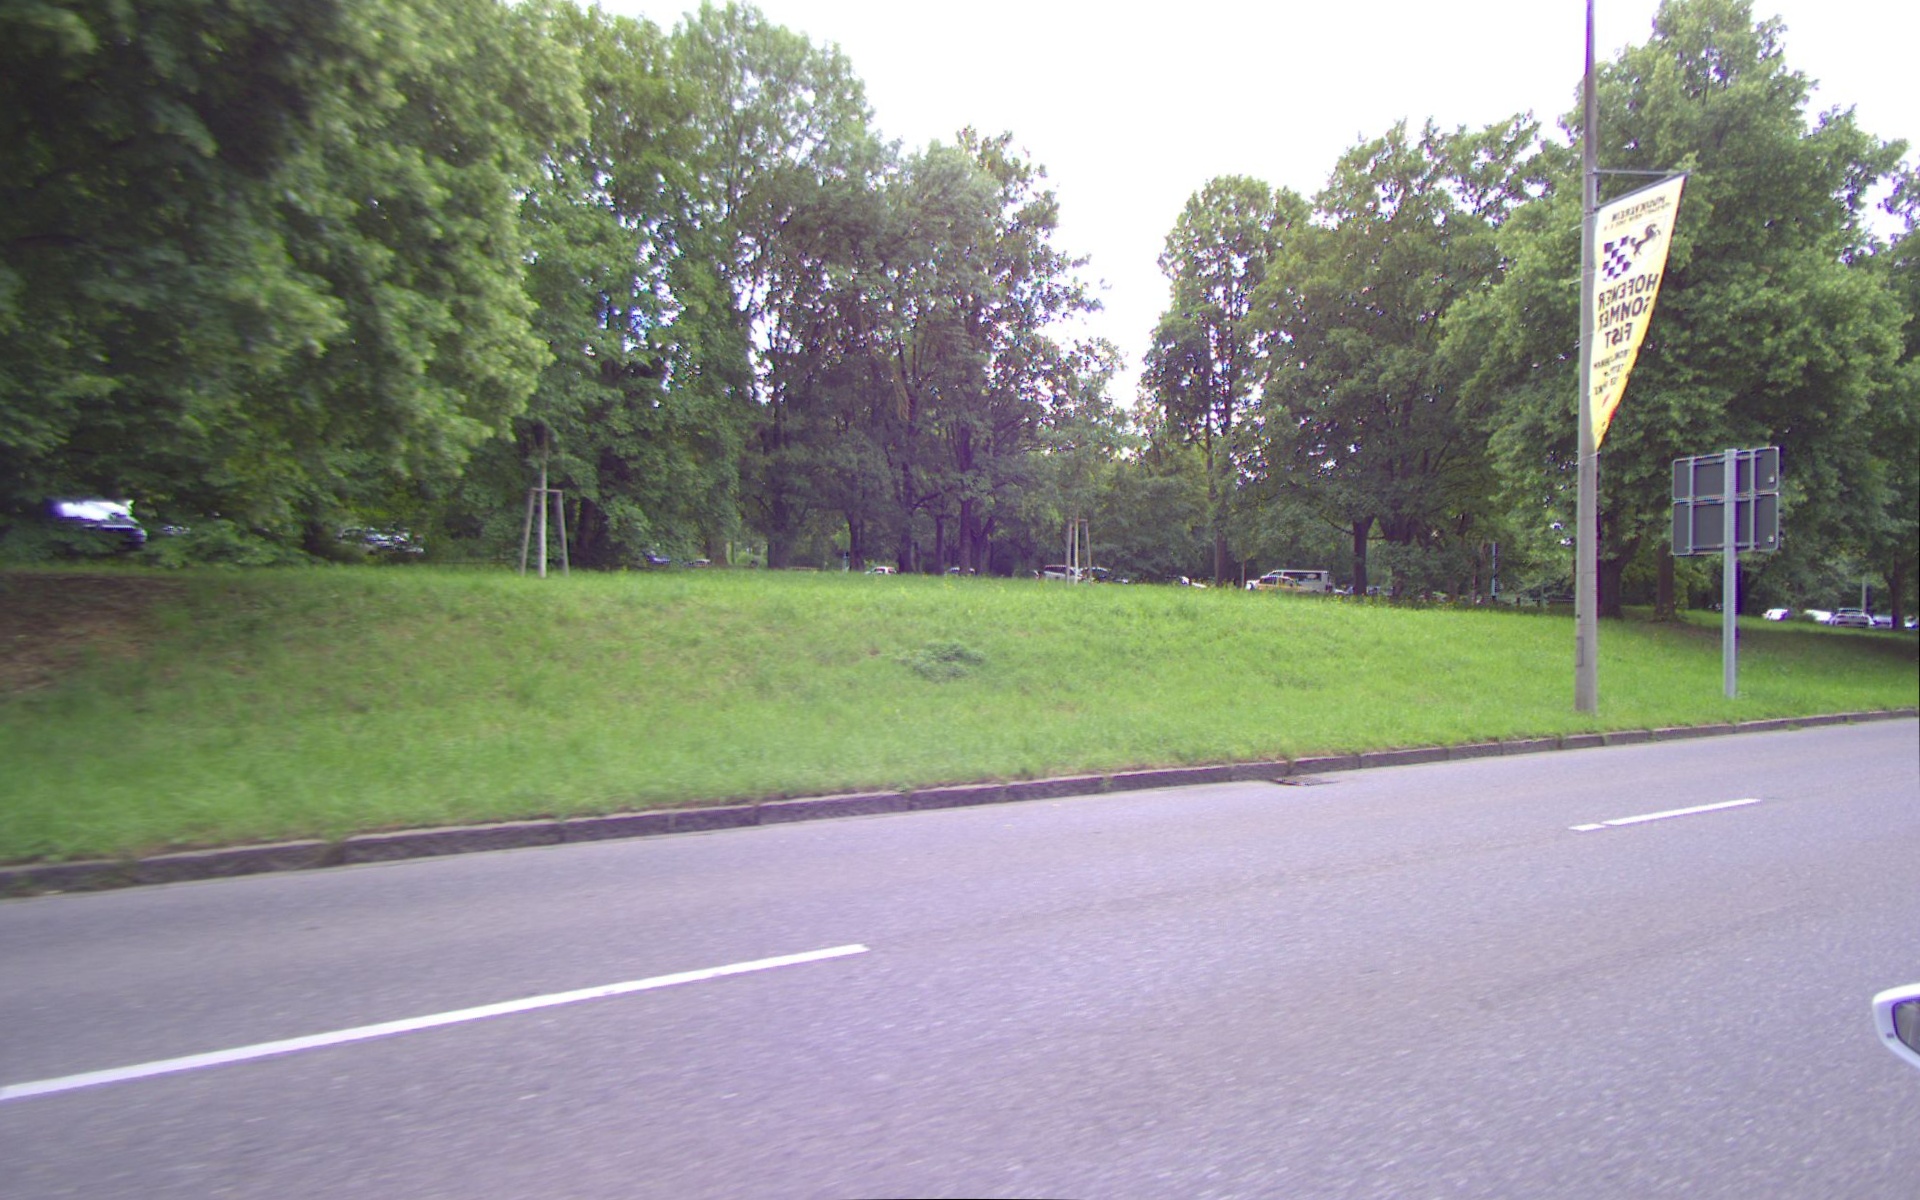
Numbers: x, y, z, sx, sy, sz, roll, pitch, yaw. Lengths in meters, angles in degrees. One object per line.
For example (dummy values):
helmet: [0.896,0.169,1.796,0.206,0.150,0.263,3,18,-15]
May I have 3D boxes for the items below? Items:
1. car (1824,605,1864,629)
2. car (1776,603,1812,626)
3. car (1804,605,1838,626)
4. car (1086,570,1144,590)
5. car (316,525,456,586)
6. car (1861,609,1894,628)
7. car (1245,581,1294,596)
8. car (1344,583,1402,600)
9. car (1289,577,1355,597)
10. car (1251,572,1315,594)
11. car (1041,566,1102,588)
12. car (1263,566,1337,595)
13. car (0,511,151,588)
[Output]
car: [59.530,1.124,67.707,1.624,1.506,3.986,2,0,36]
car: [57.807,0.984,69.660,1.624,1.506,3.986,2,0,36]
car: [65.544,1.198,76.527,1.624,1.506,3.986,2,0,36]
car: [10.134,-1.317,65.663,3.448,1.250,1.396,2,0,33]
car: [-20.065,-1.528,35.060,4.821,1.921,2.315,2,0,33]
car: [78.761,1.566,86.274,1.624,1.506,3.986,2,0,36]
car: [28.728,-1.054,93.261,3.920,1.226,1.897,2,0,36]
car: [33.083,-0.666,80.462,3.920,1.226,1.897,2,0,36]
car: [24.959,-0.889,69.243,3.920,1.226,1.897,2,0,36]
car: [19.607,-1.036,60.995,3.448,1.226,1.396,2,0,33]
car: [6.885,-1.407,61.927,3.448,1.250,1.396,2,0,33]
car: [21.355,-1.227,63.085,4.049,1.706,1.747,2,0,37]
car: [-24.678,-1.371,27.955,4.821,1.921,1.995,2,0,33]
